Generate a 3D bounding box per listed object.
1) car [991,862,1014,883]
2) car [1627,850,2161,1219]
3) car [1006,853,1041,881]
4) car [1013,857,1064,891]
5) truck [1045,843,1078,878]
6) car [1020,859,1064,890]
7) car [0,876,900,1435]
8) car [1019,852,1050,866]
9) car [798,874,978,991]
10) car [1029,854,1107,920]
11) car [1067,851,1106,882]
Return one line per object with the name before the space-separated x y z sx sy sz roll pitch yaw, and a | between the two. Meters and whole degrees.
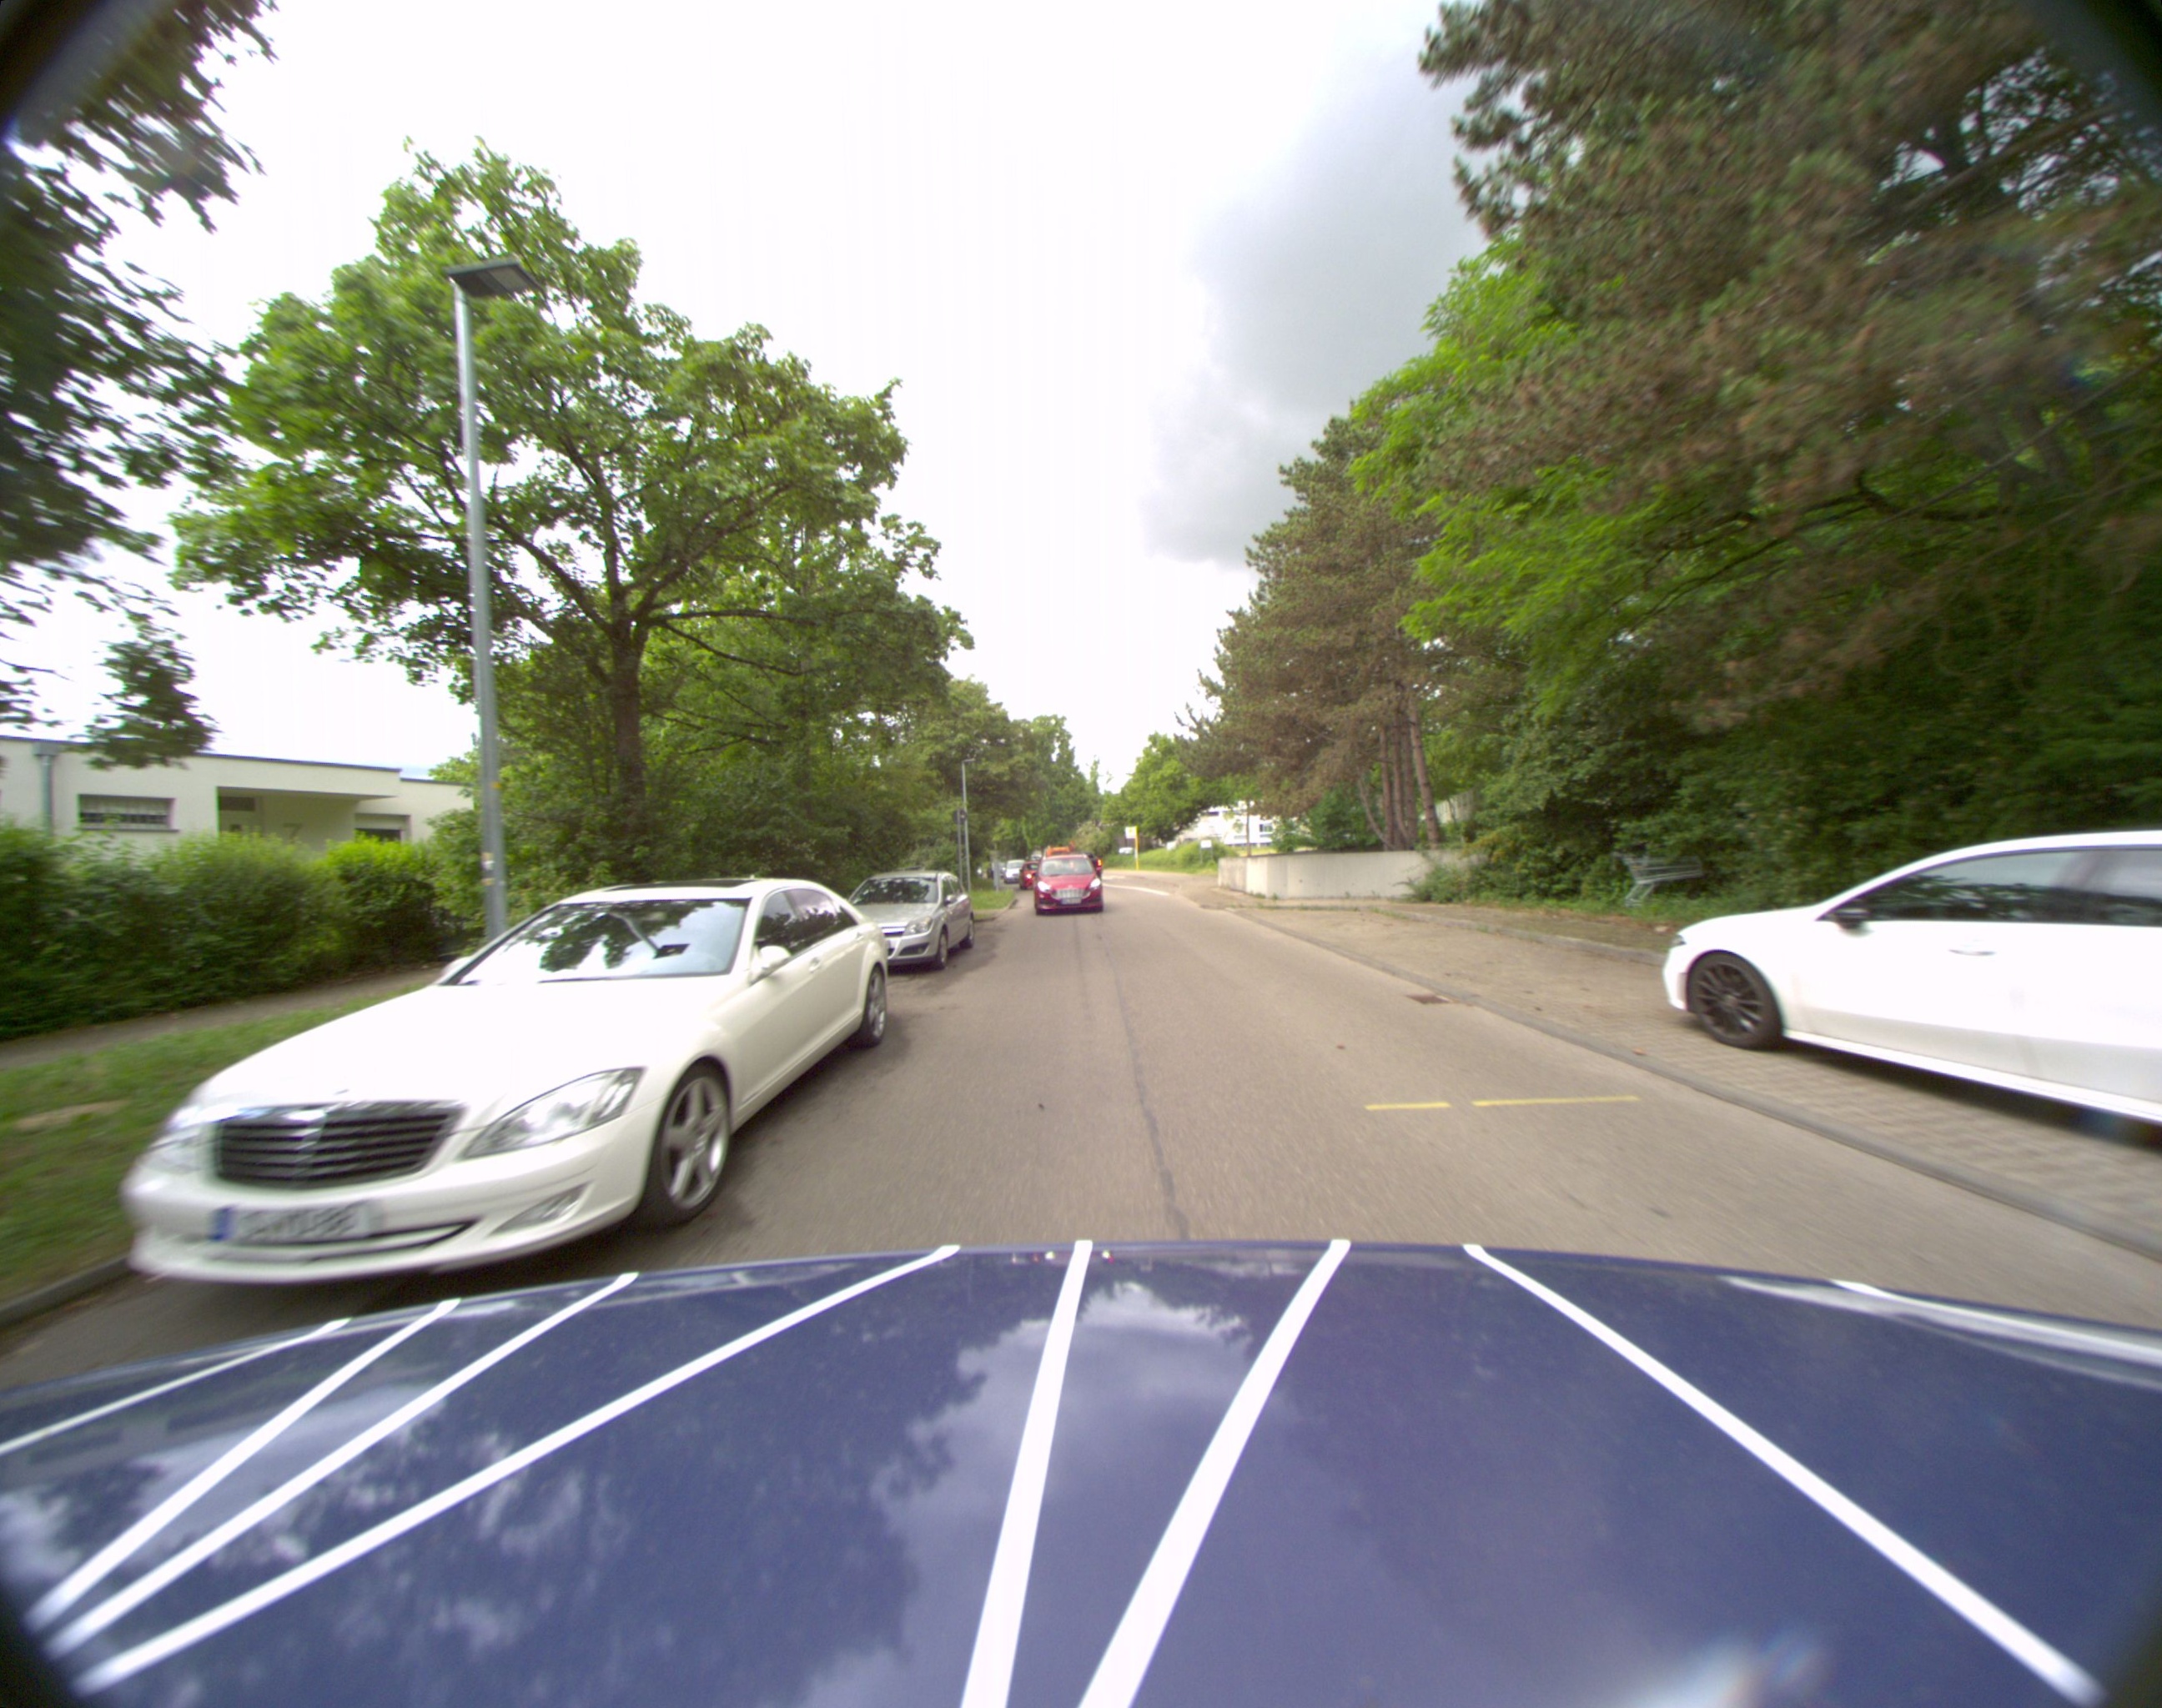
car | -7.303 1.740 71.147 1.999 1.663 3.997 -4 1 -5
car | 5.251 0.734 3.748 1.810 1.394 4.371 -4 0 -2
car | -4.075 0.853 53.310 2.000 1.684 3.996 -5 2 -9
car | -2.273 1.021 39.741 1.949 1.522 4.082 -5 1 -12
truck | -1.576 0.541 60.272 2.328 2.455 6.019 -4 0 -2
car | -2.122 1.046 40.146 2.000 1.503 3.997 -1 0 -7
car | -2.719 0.995 4.898 1.891 1.498 5.175 -2 0 -1
car | -6.672 0.711 108.711 3.803 1.629 2.002 -4 2 24
car | -2.867 1.115 12.238 1.797 1.402 4.059 -2 0 0
car | -0.376 0.860 22.243 1.945 1.550 4.354 -4 1 -1
car | 0.264 0.705 45.895 1.999 1.725 5.335 -3 0 -2
